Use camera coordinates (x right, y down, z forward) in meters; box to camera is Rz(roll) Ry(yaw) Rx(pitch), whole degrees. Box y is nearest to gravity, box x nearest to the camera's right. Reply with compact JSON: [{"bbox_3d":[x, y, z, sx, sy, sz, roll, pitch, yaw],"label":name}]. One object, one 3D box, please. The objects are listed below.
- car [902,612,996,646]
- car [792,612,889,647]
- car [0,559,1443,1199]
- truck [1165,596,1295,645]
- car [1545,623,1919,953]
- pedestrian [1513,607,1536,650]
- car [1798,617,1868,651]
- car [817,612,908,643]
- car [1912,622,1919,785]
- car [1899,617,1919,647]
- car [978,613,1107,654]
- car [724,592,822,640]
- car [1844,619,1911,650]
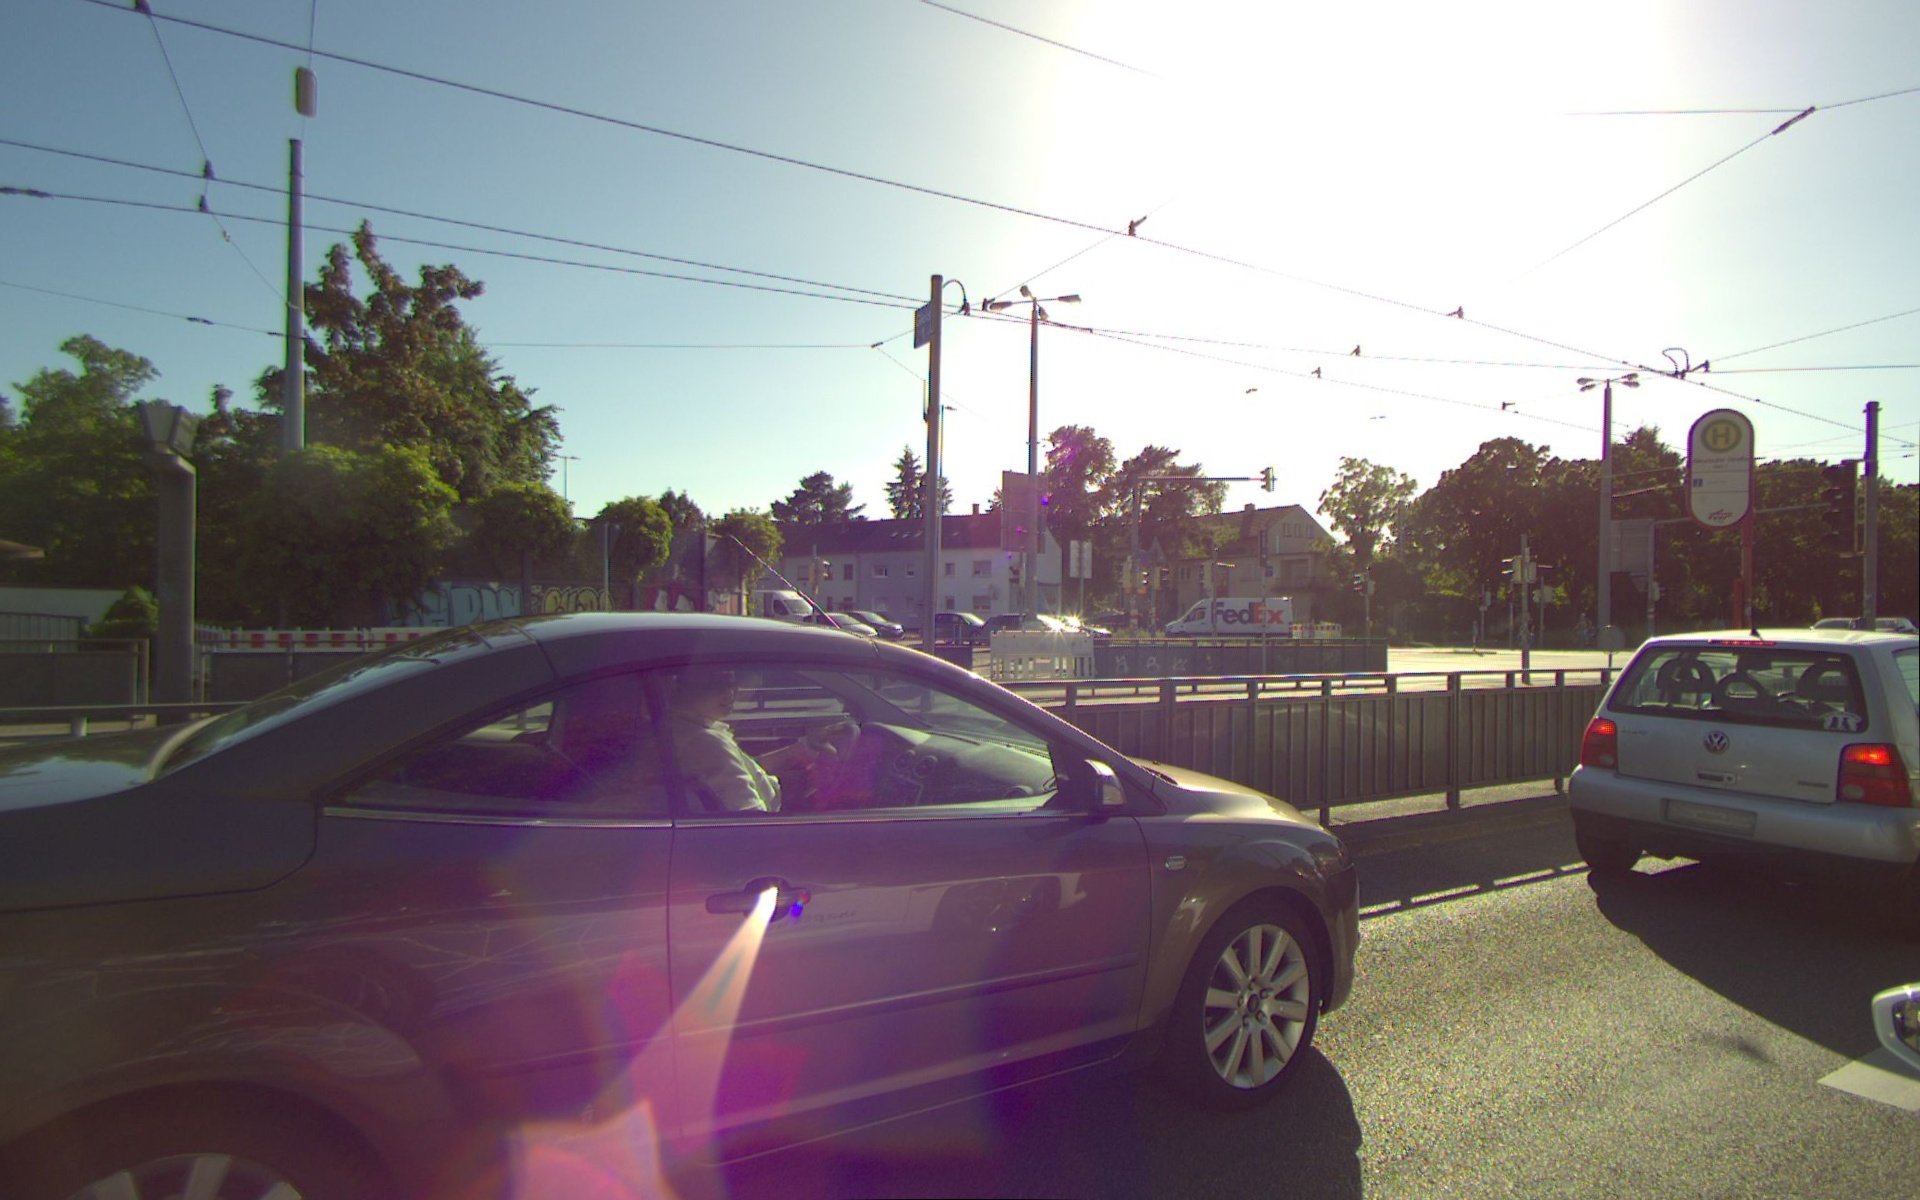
[{"bbox_3d":[-0.525,1.305,45.811,4.104,1.451,1.589,0,-1,34],"label":"car"},{"bbox_3d":[-5.377,1.296,44.911,4.104,1.451,1.846,0,-1,34],"label":"car"},{"bbox_3d":[-0.689,0.704,2.957,4.284,1.469,1.766,1,-1,-31],"label":"car"},{"bbox_3d":[14.665,1.099,54.871,6.684,2.599,2.001,0,-1,13],"label":"truck"},{"bbox_3d":[5.203,0.881,5.963,3.312,1.436,1.611,2,-2,-31],"label":"car"},{"bbox_3d":[26.846,1.343,47.770,0.785,2.040,0.741,1,-1,-42],"label":"pedestrian"},{"bbox_3d":[42.432,1.643,48.801,3.963,1.568,1.819,1,-1,-37],"label":"car"},{"bbox_3d":[-4.765,1.315,48.895,4.212,1.451,1.788,0,-1,34],"label":"car"},{"bbox_3d":[10.774,0.994,9.449,4.038,1.476,1.611,2,0,-31],"label":"car"},{"bbox_3d":[54.274,1.786,56.056,4.712,1.626,1.978,1,1,-38],"label":"car"},{"bbox_3d":[3.175,1.271,39.211,4.754,1.517,1.781,0,-1,34],"label":"car"},{"bbox_3d":[-9.859,0.818,52.877,4.995,2.434,2.132,0,-1,34],"label":"car"},{"bbox_3d":[47.316,1.768,51.789,4.245,1.568,1.819,1,-1,-37],"label":"car"}]
